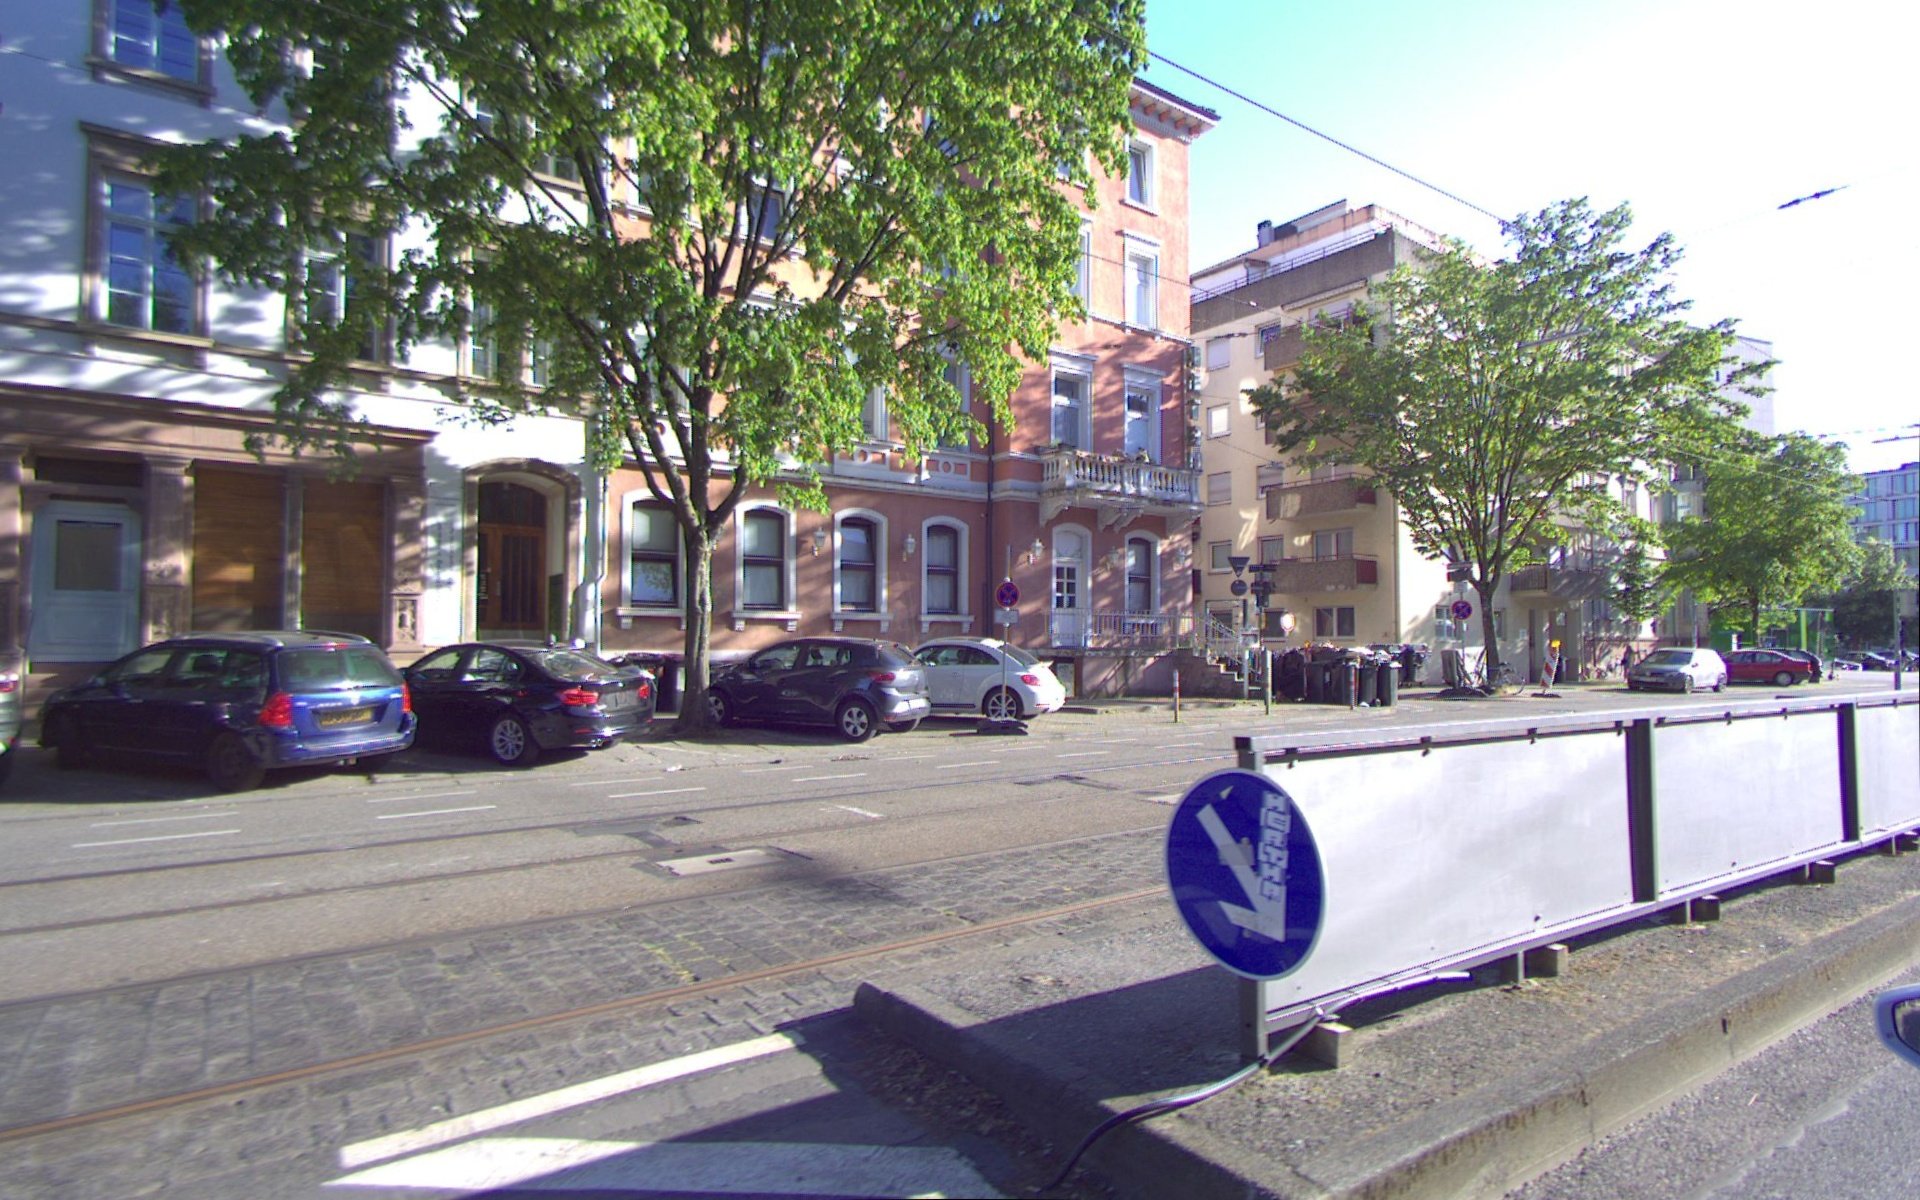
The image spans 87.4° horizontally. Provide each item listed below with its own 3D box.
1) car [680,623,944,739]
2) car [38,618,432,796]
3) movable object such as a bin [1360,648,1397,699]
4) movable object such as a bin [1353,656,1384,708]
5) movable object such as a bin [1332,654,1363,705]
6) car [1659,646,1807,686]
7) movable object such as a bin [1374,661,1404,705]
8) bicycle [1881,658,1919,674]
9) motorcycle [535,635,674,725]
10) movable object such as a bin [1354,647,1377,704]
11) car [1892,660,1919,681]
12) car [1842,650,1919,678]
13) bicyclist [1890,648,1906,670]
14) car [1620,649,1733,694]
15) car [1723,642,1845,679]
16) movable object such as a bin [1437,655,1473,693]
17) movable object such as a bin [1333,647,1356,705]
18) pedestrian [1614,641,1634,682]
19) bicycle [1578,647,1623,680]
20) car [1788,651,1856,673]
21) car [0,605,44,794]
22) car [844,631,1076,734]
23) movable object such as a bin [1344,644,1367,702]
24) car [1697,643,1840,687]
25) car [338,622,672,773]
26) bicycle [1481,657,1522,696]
[{"bbox_3d":[-2.369,1.211,16.077,3.846,1.528,1.689,2,0,23],"label":"car"},{"bbox_3d":[-8.153,1.082,11.331,3.907,1.638,1.635,1,-1,19],"label":"car"},{"bbox_3d":[12.391,2.169,29.720,1.134,1.477,0.423,3,-3,-30],"label":"movable object such as a bin"},{"bbox_3d":[10.127,2.027,24.906,0.631,1.258,0.378,1,-2,-24],"label":"movable object such as a bin"},{"bbox_3d":[9.495,1.944,24.622,0.631,1.218,0.378,1,-2,-24],"label":"movable object such as a bin"},{"bbox_3d":[31.491,2.659,41.088,4.427,1.444,1.873,1,-2,21],"label":"car"},{"bbox_3d":[10.734,2.077,25.133,0.631,1.082,0.378,1,-2,-24],"label":"movable object such as a bin"},{"bbox_3d":[67.236,4.706,71.784,0.778,1.137,1.921,1,-3,-20],"label":"bicycle"},{"bbox_3d":[-5.426,1.229,15.359,1.902,1.296,0.677,3,-3,-25],"label":"motorcycle"},{"bbox_3d":[10.462,1.946,25.915,0.382,1.445,0.378,1,-2,-24],"label":"movable object such as a bin"},{"bbox_3d":[72.918,5.316,75.785,1.502,1.526,3.521,1,-2,-24],"label":"car"},{"bbox_3d":[50.609,3.455,54.138,4.441,1.368,1.585,0,-2,35],"label":"car"},{"bbox_3d":[67.202,4.230,71.965,0.585,1.603,0.618,1,-3,-20],"label":"bicyclist"},{"bbox_3d":[24.630,2.418,34.485,4.245,1.429,1.697,2,-1,-32],"label":"car"},{"bbox_3d":[39.900,2.920,48.760,4.441,1.590,1.585,0,-2,35],"label":"car"},{"bbox_3d":[15.069,2.253,30.585,1.134,1.141,0.423,2,-3,-30],"label":"movable object such as a bin"},{"bbox_3d":[9.736,1.913,25.448,0.382,1.445,0.378,1,-2,-24],"label":"movable object such as a bin"},{"bbox_3d":[27.667,2.539,41.838,0.484,1.693,0.508,2,-3,-30],"label":"pedestrian"},{"bbox_3d":[28.657,2.821,44.917,2.984,1.416,0.711,2,-3,-38],"label":"bicycle"},{"bbox_3d":[63.132,4.511,73.624,1.502,1.526,3.521,1,-2,-24],"label":"car"},{"bbox_3d":[-11.082,0.833,9.657,4.204,1.745,1.707,2,-1,23],"label":"car"},{"bbox_3d":[0.023,1.426,18.248,3.838,1.542,1.736,2,0,18],"label":"car"},{"bbox_3d":[10.097,1.858,25.656,0.380,1.445,0.378,1,-2,-24],"label":"movable object such as a bin"},{"bbox_3d":[34.173,2.725,42.577,4.428,1.663,1.590,1,-2,22],"label":"car"},{"bbox_3d":[-5.941,1.170,13.160,3.907,1.638,1.635,1,-1,19],"label":"car"},{"bbox_3d":[16.046,2.265,29.777,1.386,1.131,0.263,1,-2,-24],"label":"bicycle"}]
